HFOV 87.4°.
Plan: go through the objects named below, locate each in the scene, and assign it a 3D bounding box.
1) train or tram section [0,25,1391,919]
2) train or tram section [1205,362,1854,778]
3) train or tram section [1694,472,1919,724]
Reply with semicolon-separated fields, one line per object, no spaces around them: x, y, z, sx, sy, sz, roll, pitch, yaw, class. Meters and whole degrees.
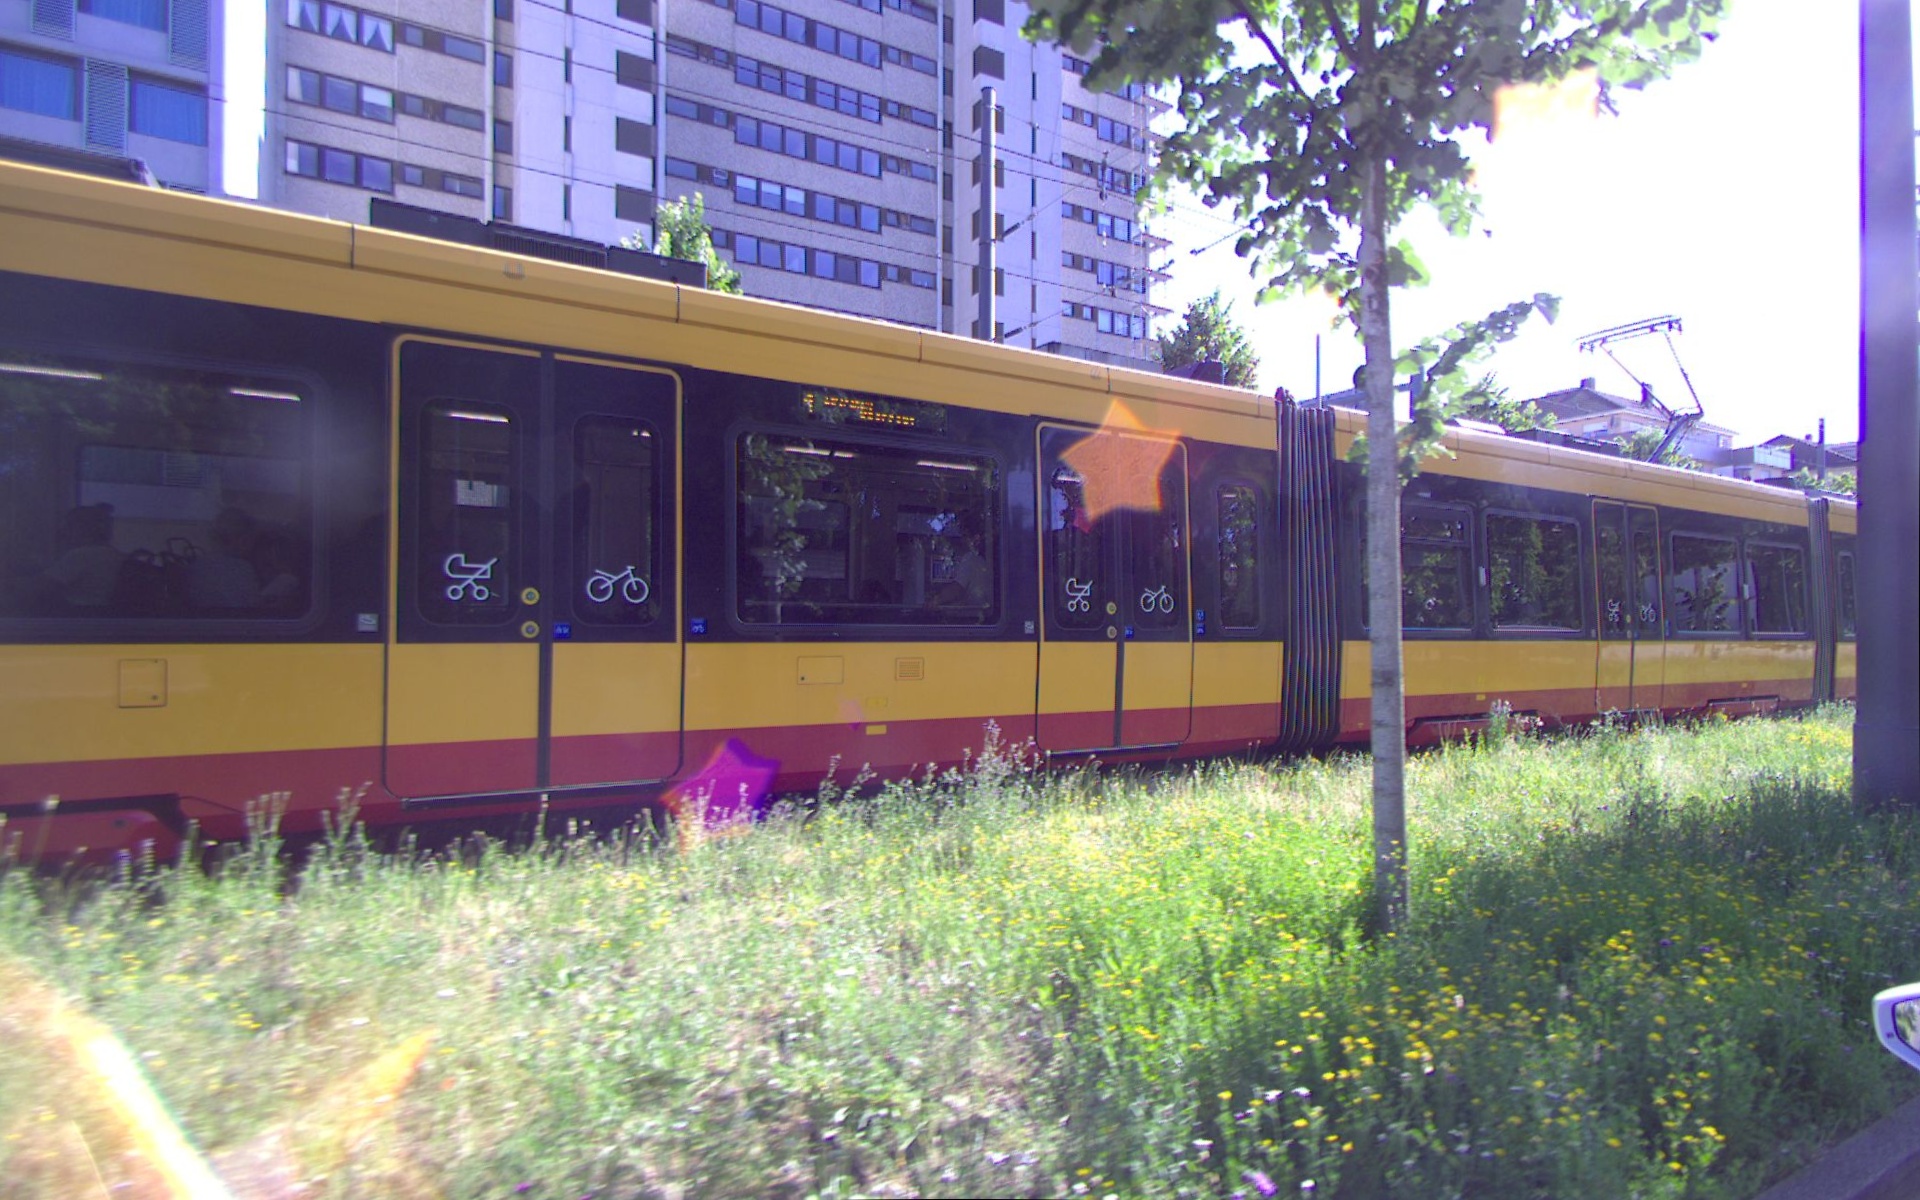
-2.574;-0.485;6.229;13.993;3.718;1.983;1;0;-32;train or tram section
7.901;-0.157;12.755;11.187;3.718;1.983;1;0;-31;train or tram section
17.560;0.083;18.653;11.548;3.718;1.984;1;0;-31;train or tram section
